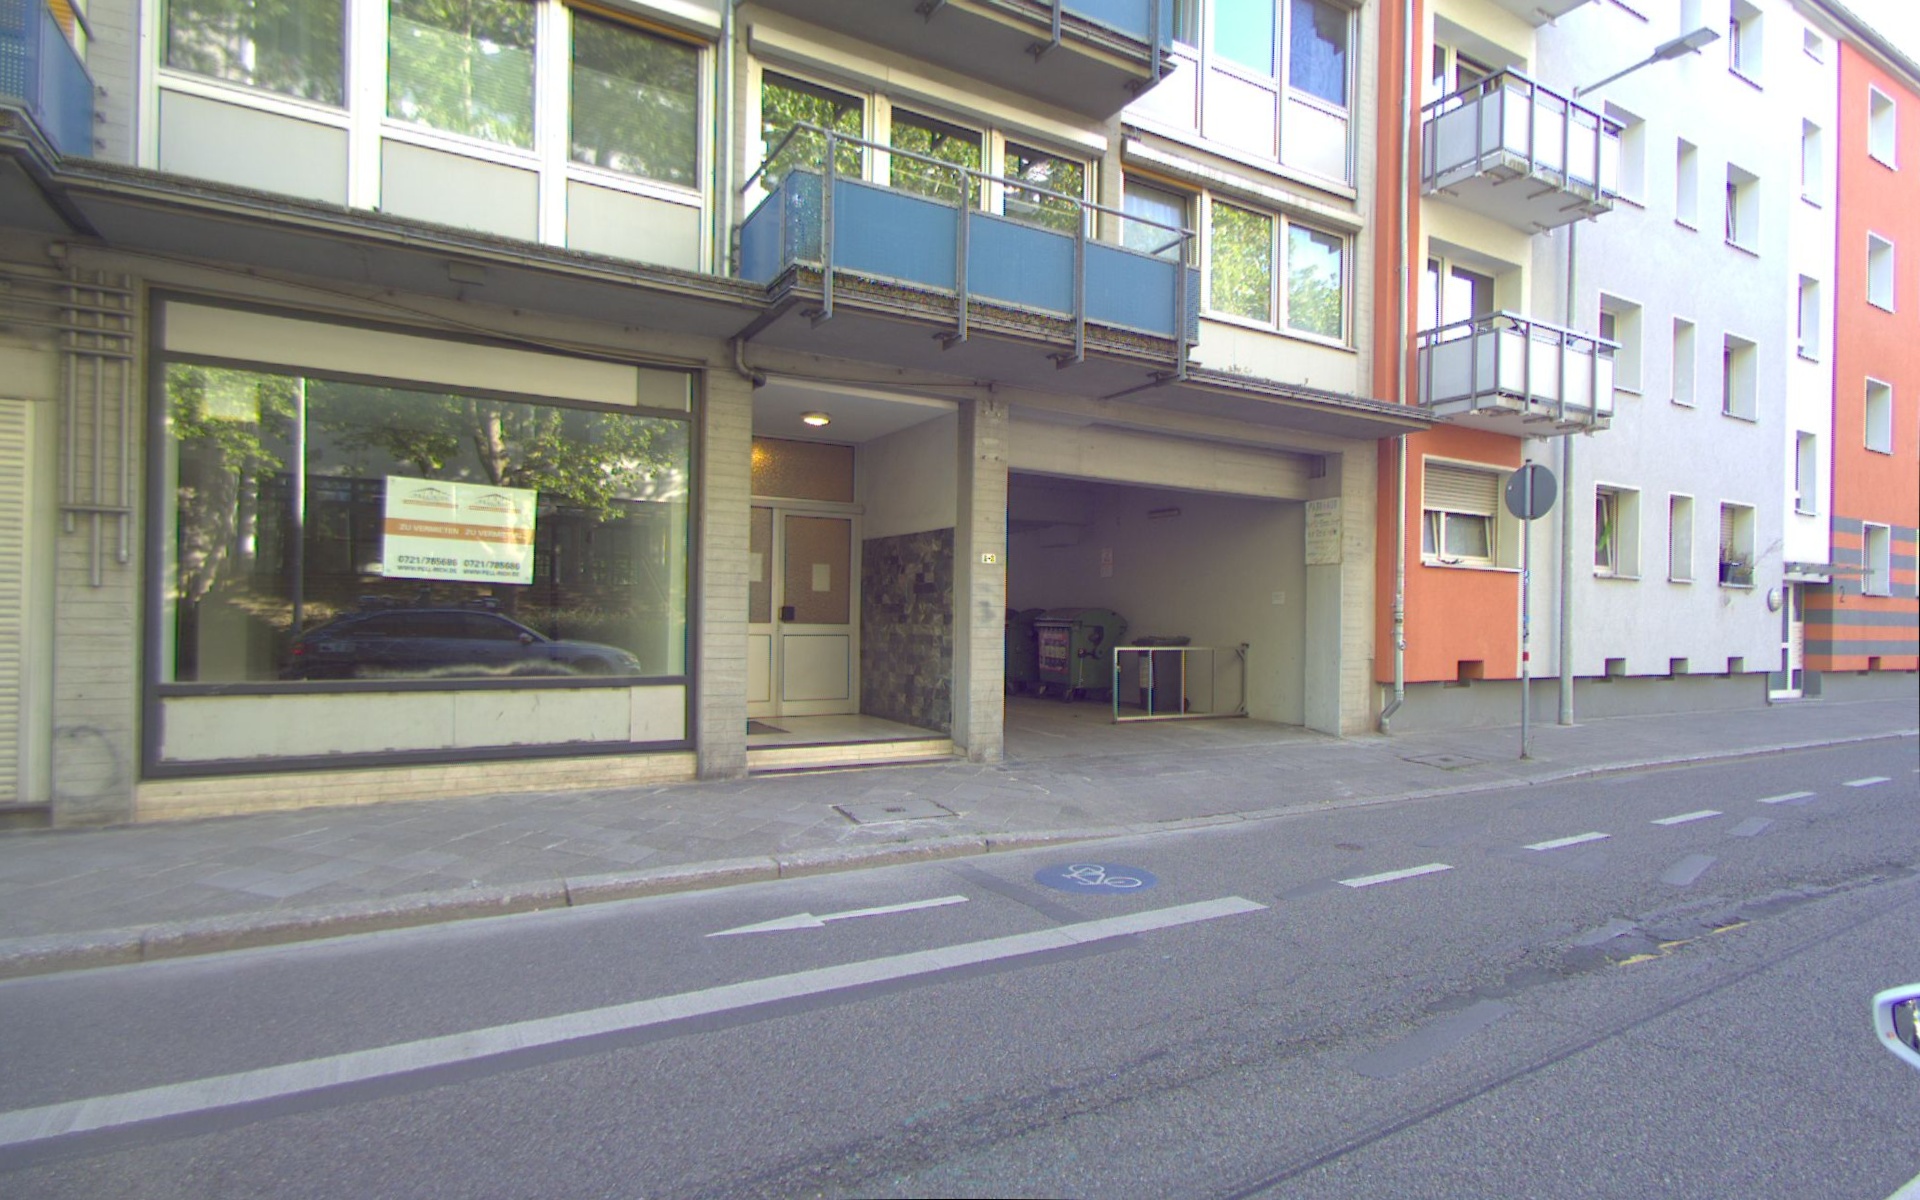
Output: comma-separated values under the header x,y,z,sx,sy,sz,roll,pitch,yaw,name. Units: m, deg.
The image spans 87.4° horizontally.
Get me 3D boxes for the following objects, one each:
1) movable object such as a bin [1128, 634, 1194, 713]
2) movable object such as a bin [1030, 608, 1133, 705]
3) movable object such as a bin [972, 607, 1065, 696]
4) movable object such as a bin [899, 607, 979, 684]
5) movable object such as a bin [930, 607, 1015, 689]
x,y,z,sx,sy,sz,roll,pitch,yaw,name
2.898,1.042,14.506,0.667,1.079,0.639,1,0,-30,movable object such as a bin
1.901,0.859,15.816,1.116,1.444,1.201,1,0,-30,movable object such as a bin
0.989,0.853,17.176,1.116,1.444,1.201,1,0,-30,movable object such as a bin
-0.429,0.866,19.623,1.116,1.444,1.201,1,0,-30,movable object such as a bin
0.218,0.859,18.474,1.116,1.444,1.201,1,0,-30,movable object such as a bin
